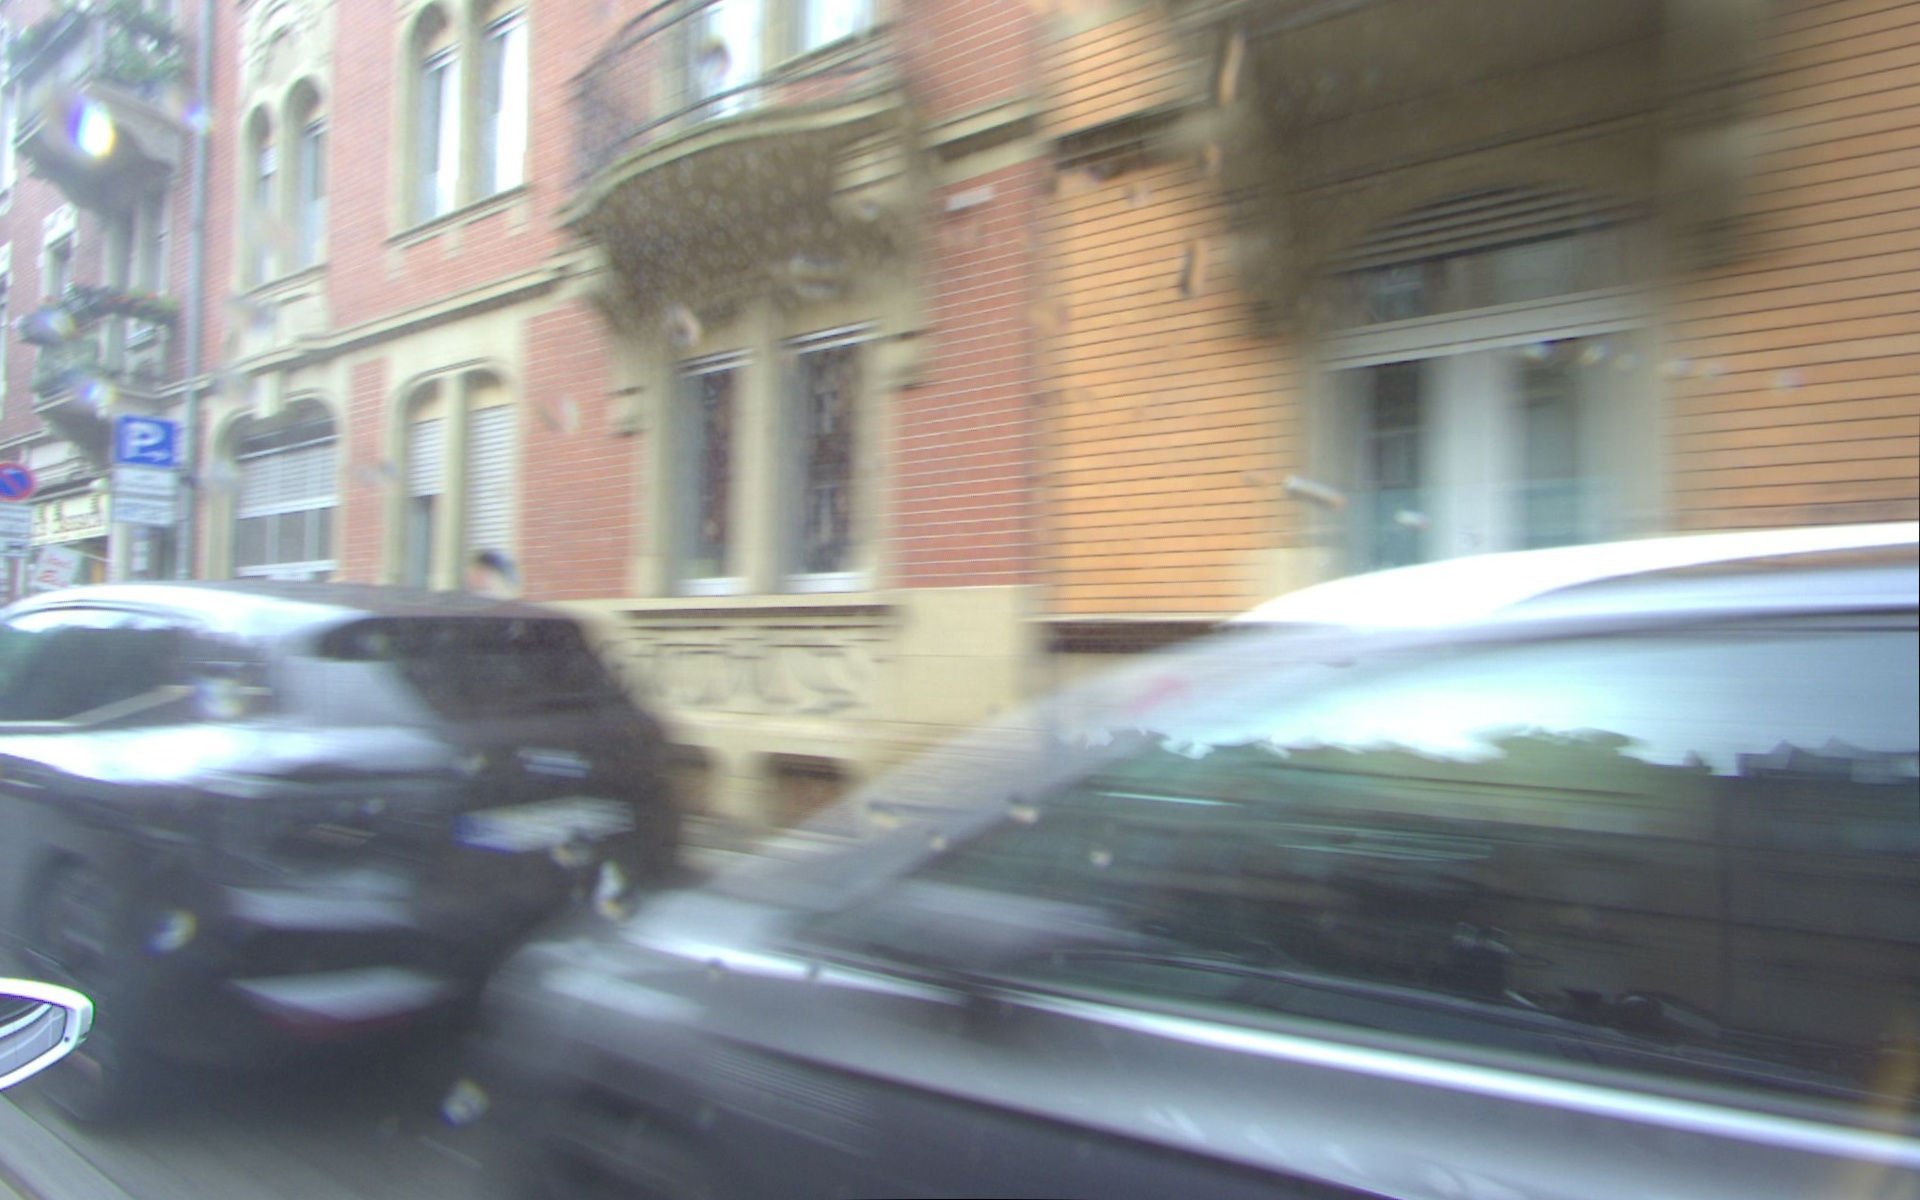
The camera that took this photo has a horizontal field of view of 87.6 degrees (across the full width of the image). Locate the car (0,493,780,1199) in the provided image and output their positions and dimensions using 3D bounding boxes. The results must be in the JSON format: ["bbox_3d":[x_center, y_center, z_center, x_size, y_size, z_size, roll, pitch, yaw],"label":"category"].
[{"bbox_3d":[-3.271,0.727,4.487,4.757,1.802,1.991,-1,-2,32],"label":"car"}]

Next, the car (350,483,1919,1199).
[{"bbox_3d":[0.977,0.733,1.745,4.285,1.581,1.867,-1,-2,34],"label":"car"}]
